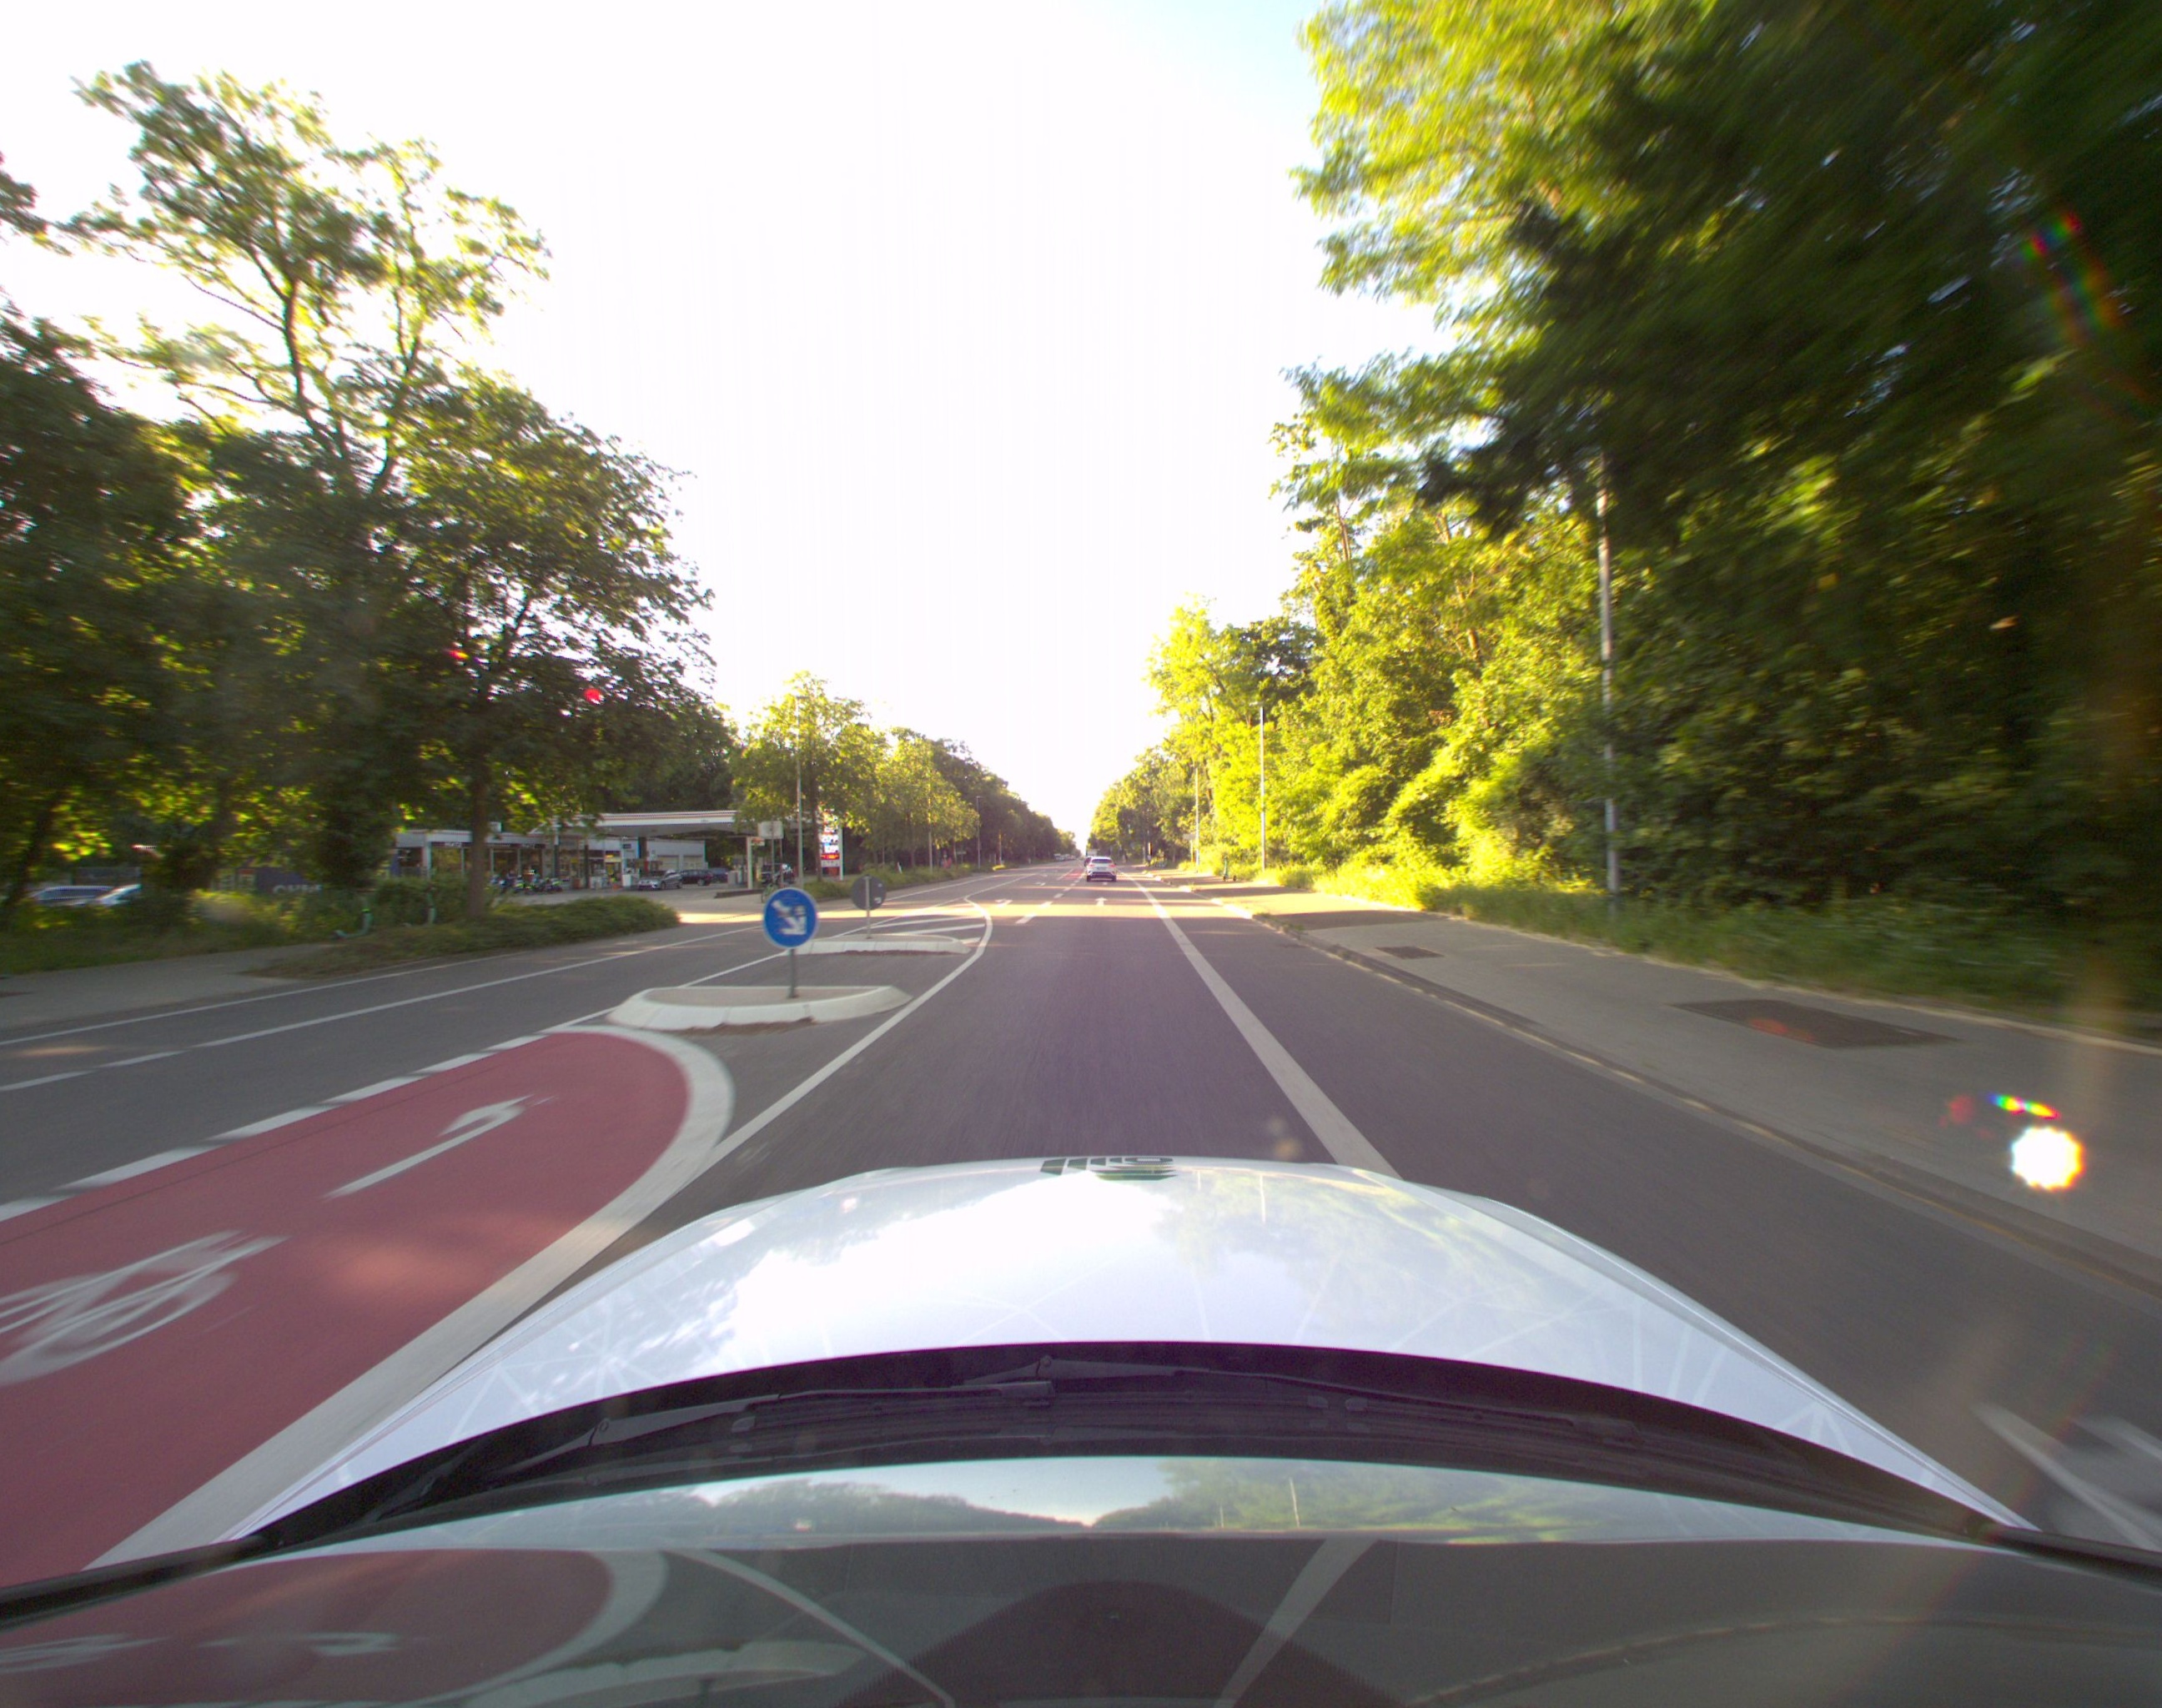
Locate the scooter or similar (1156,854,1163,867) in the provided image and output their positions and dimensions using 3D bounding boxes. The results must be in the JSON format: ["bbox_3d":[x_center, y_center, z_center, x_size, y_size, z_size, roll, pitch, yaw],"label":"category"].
[{"bbox_3d":[9.091,0.718,94.412,0.679,1.423,1.682,-2,0,1],"label":"scooter or similar"}]

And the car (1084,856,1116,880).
[{"bbox_3d":[1.142,0.848,50.304,1.757,1.459,3.814,0,0,-3],"label":"car"}]

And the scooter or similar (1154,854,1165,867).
[{"bbox_3d":[8.806,0.724,91.423,0.683,1.423,1.673,-2,0,-15],"label":"scooter or similar"}]

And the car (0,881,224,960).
[{"bbox_3d":[-24.298,1.589,20.489,1.542,1.651,3.513,-2,0,32],"label":"car"}]

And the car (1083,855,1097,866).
[{"bbox_3d":[1.409,1.012,123.889,1.986,1.519,4.001,-2,0,1],"label":"car"}]

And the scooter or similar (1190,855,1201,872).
[{"bbox_3d":[8.387,0.699,59.630,0.531,1.250,1.541,-2,0,1],"label":"scooter or similar"}]

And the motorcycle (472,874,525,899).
[{"bbox_3d":[-36.582,2.034,51.135,1.120,1.451,2.521,-2,0,44],"label":"motorcycle"}]

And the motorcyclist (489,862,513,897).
[{"bbox_3d":[-36.515,1.588,51.229,1.022,2.182,1.110,-1,-1,-45],"label":"motorcyclist"}]

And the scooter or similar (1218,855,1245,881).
[{"bbox_3d":[7.735,0.704,41.779,1.550,1.250,0.528,-2,0,-43],"label":"scooter or similar"}]

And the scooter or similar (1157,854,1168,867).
[{"bbox_3d":[8.891,0.714,89.350,0.683,1.423,1.674,-2,0,-13],"label":"scooter or similar"}]

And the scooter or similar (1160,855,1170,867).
[{"bbox_3d":[8.970,0.770,87.251,0.467,1.306,1.470,-2,0,-21],"label":"scooter or similar"}]

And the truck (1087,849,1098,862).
[{"bbox_3d":[3.269,0.475,227.328,2.791,3.570,8.031,0,0,-1],"label":"truck"}]

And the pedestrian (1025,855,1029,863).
[{"bbox_3d":[-12.961,1.236,195.603,0.860,2.013,1.270,-2,0,2],"label":"pedestrian"}]

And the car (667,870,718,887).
[{"bbox_3d":[-33.586,2.098,70.483,3.627,1.353,1.708,-2,0,-14],"label":"car"}]

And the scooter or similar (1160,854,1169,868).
[{"bbox_3d":[8.763,0.712,85.399,0.680,1.423,1.682,-2,0,0],"label":"scooter or similar"}]

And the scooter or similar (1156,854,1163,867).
[{"bbox_3d":[9.220,0.755,95.924,0.678,1.423,1.249,-2,0,9],"label":"scooter or similar"}]

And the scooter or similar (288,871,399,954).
[{"bbox_3d":[-16.530,1.280,18.320,0.824,1.717,1.741,-2,0,2],"label":"scooter or similar"}]

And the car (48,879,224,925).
[{"bbox_3d":[-36.939,1.849,31.982,1.977,1.536,4.041,-2,0,19],"label":"car"}]

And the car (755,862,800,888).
[{"bbox_3d":[-21.745,1.492,58.465,1.707,1.691,4.448,-2,0,-3],"label":"car"}]

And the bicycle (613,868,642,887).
[{"bbox_3d":[-37.249,1.941,66.942,1.830,1.477,0.928,-2,0,1],"label":"bicycle"}]

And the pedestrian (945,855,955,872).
[{"bbox_3d":[-15.239,1.114,94.787,0.710,2.013,0.752,-2,0,31],"label":"pedestrian"}]

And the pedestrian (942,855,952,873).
[{"bbox_3d":[-15.225,1.110,92.462,0.801,2.013,0.710,-2,0,-40],"label":"pedestrian"}]

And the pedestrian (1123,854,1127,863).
[{"bbox_3d":[8.422,0.874,154.759,0.696,1.653,0.876,-2,0,0],"label":"pedestrian"}]

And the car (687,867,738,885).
[{"bbox_3d":[-35.715,2.096,79.043,3.980,1.555,1.896,-2,0,-5],"label":"car"}]

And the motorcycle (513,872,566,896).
[{"bbox_3d":[-36.529,2.006,54.973,1.120,1.451,2.762,-2,0,27],"label":"motorcycle"}]

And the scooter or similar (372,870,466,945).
[{"bbox_3d":[-16.428,1.293,20.263,0.824,1.717,1.741,-2,0,2],"label":"scooter or similar"}]

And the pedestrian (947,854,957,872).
[{"bbox_3d":[-14.993,1.021,94.750,0.710,2.013,0.880,-2,0,32],"label":"pedestrian"}]

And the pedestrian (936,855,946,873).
[{"bbox_3d":[-15.846,1.143,91.943,0.801,2.013,0.710,-2,0,-41],"label":"pedestrian"}]

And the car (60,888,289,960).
[{"bbox_3d":[-22.128,1.668,20.013,1.542,1.400,3.513,-4,-1,32],"label":"car"}]

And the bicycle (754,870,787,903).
[{"bbox_3d":[-12.948,1.340,34.047,0.653,1.250,2.156,-2,0,-4],"label":"bicycle"}]

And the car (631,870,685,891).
[{"bbox_3d":[-29.957,1.855,57.834,1.705,1.376,4.059,-2,0,0],"label":"car"}]

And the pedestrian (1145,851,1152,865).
[{"bbox_3d":[8.230,0.484,98.994,0.751,1.563,0.803,-2,0,5],"label":"pedestrian"}]

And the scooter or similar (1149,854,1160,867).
[{"bbox_3d":[8.428,0.742,93.105,0.683,1.423,1.673,-2,0,-15],"label":"scooter or similar"}]
